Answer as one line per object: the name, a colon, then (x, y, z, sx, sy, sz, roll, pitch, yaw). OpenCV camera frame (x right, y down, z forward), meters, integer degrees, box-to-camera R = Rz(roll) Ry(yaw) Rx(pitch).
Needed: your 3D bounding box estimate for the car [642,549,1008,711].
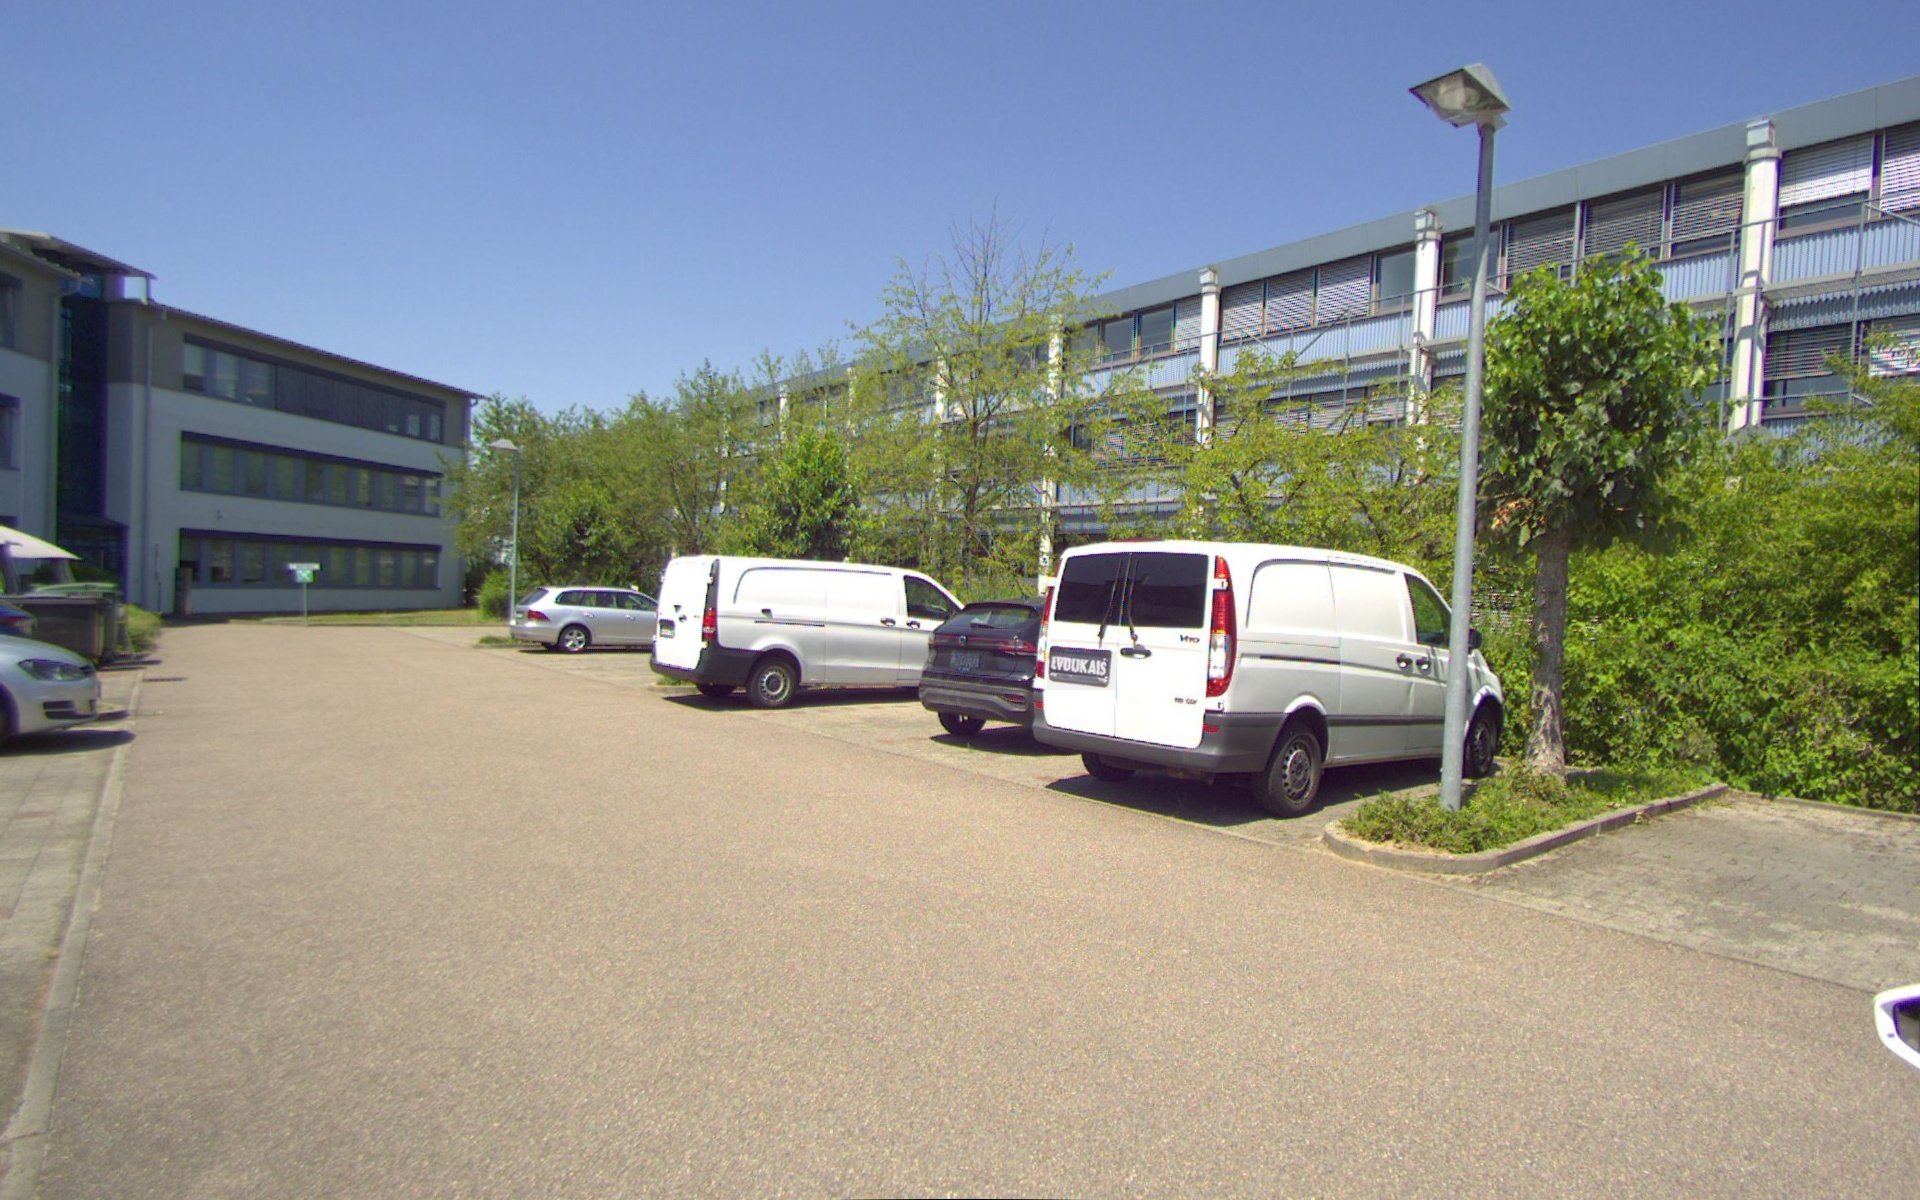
car: (-1.755, 0.383, 14.052, 4.761, 1.916, 1.867, 2, 1, -38)

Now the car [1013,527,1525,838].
car: (2.837, 0.546, 8.517, 4.770, 1.930, 1.896, 2, 0, -41)

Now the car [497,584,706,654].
car: (-8.135, 0.444, 22.954, 4.132, 1.425, 1.853, 2, 1, -37)

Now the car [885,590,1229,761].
car: (1.216, 0.694, 10.983, 1.734, 1.496, 3.979, 2, 0, 41)

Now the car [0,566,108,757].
car: (-9.374, 0.416, 7.565, 4.447, 1.492, 1.841, 2, 0, -40)

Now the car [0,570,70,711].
car: (-11.951, 0.387, 10.352, 3.962, 1.481, 1.979, 1, 1, -37)
